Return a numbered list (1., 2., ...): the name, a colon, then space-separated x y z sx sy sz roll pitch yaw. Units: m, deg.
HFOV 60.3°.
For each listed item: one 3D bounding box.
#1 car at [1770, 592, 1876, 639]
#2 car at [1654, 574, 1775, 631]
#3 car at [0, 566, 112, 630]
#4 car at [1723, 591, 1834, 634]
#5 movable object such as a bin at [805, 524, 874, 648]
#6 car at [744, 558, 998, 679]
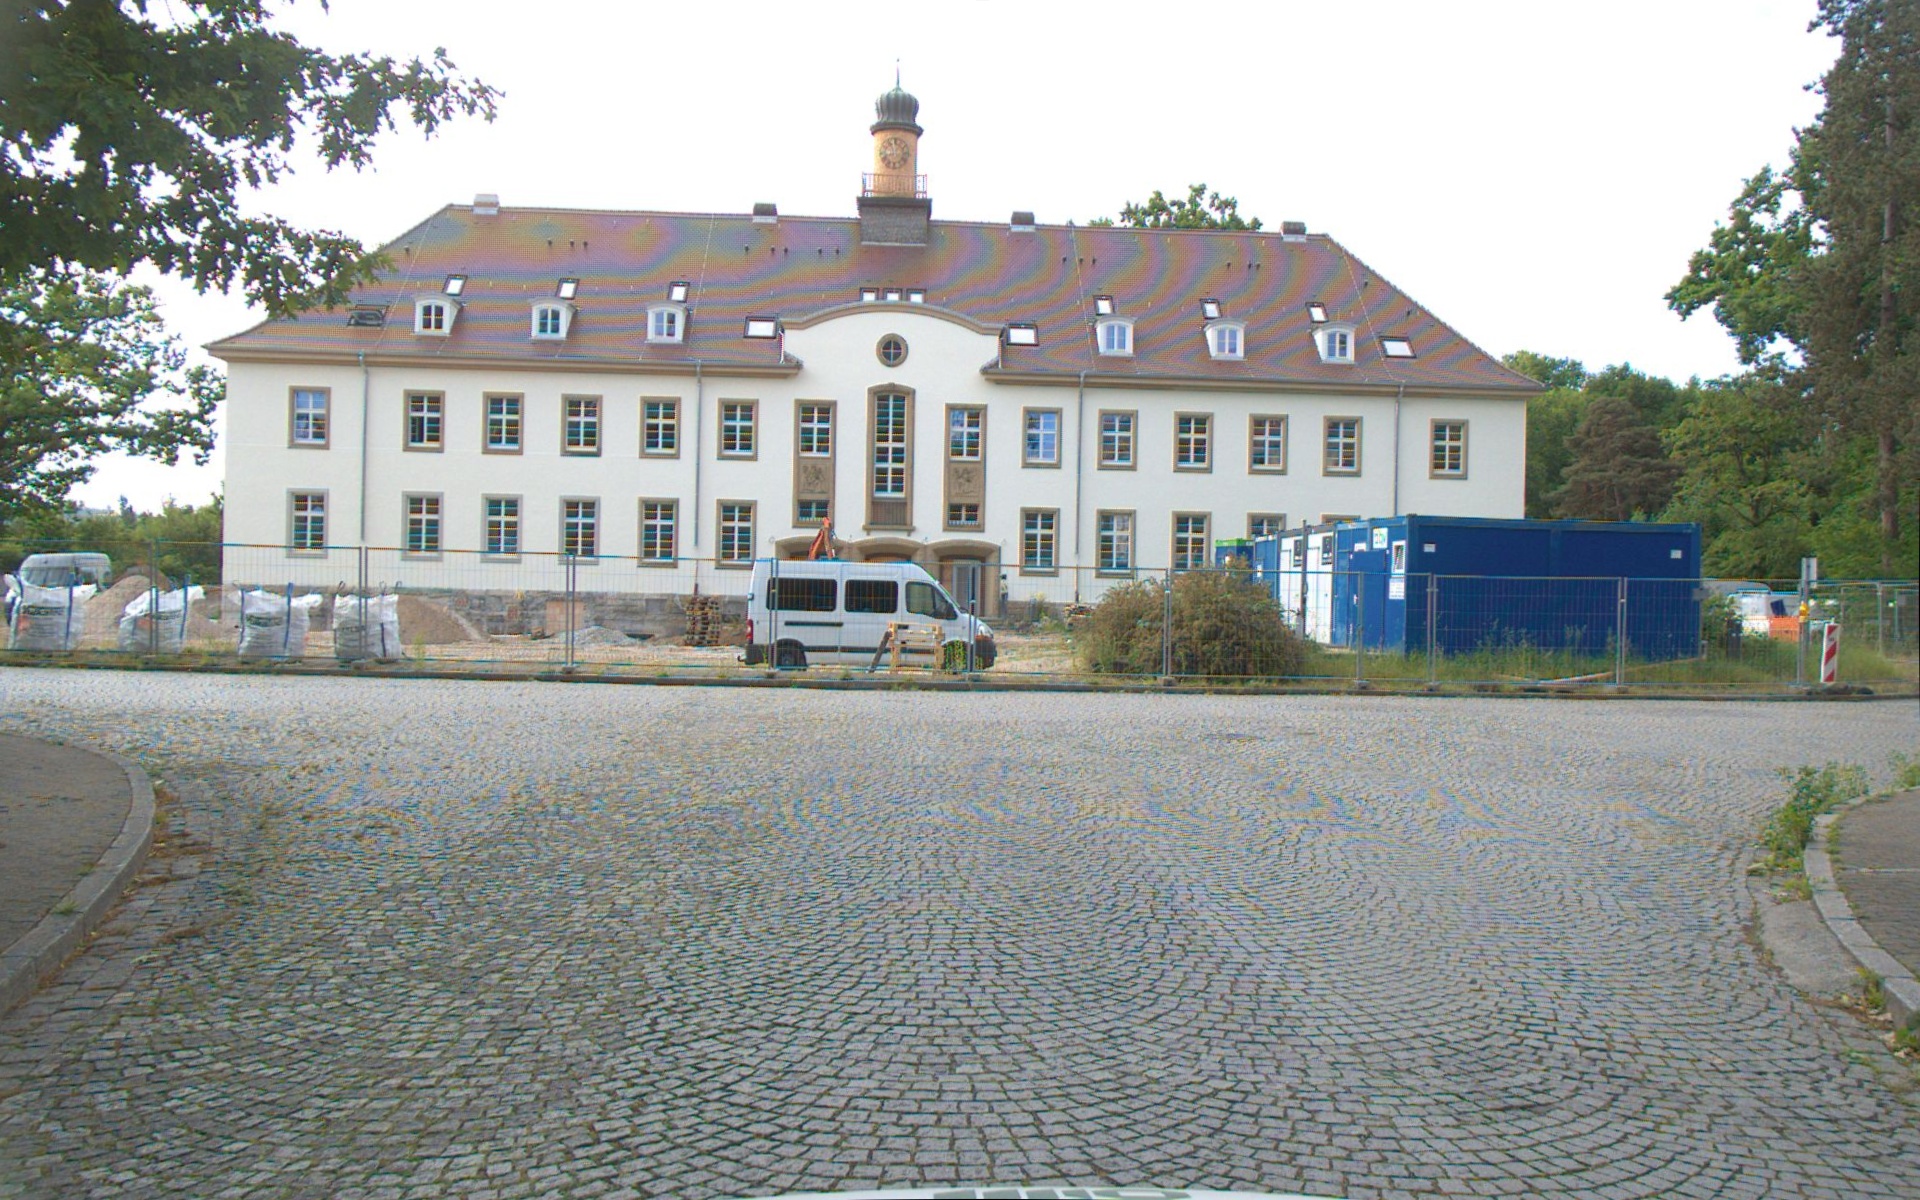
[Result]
1. car: 29.792 0.535 57.062 3.940 1.513 1.602 1 1 -35
2. car: 28.969 0.108 63.459 5.357 2.078 1.743 1 0 -35
3. car: -32.504 -0.075 59.577 2.029 2.188 4.888 1 0 -9
4. car: 30.029 0.462 60.622 4.393 1.528 1.743 1 0 -35
5. movable object such as a bin: -4.025 -0.431 54.540 1.955 3.837 5.310 1 0 -7
6. car: -1.851 0.380 34.889 5.156 2.385 1.909 1 0 -2
